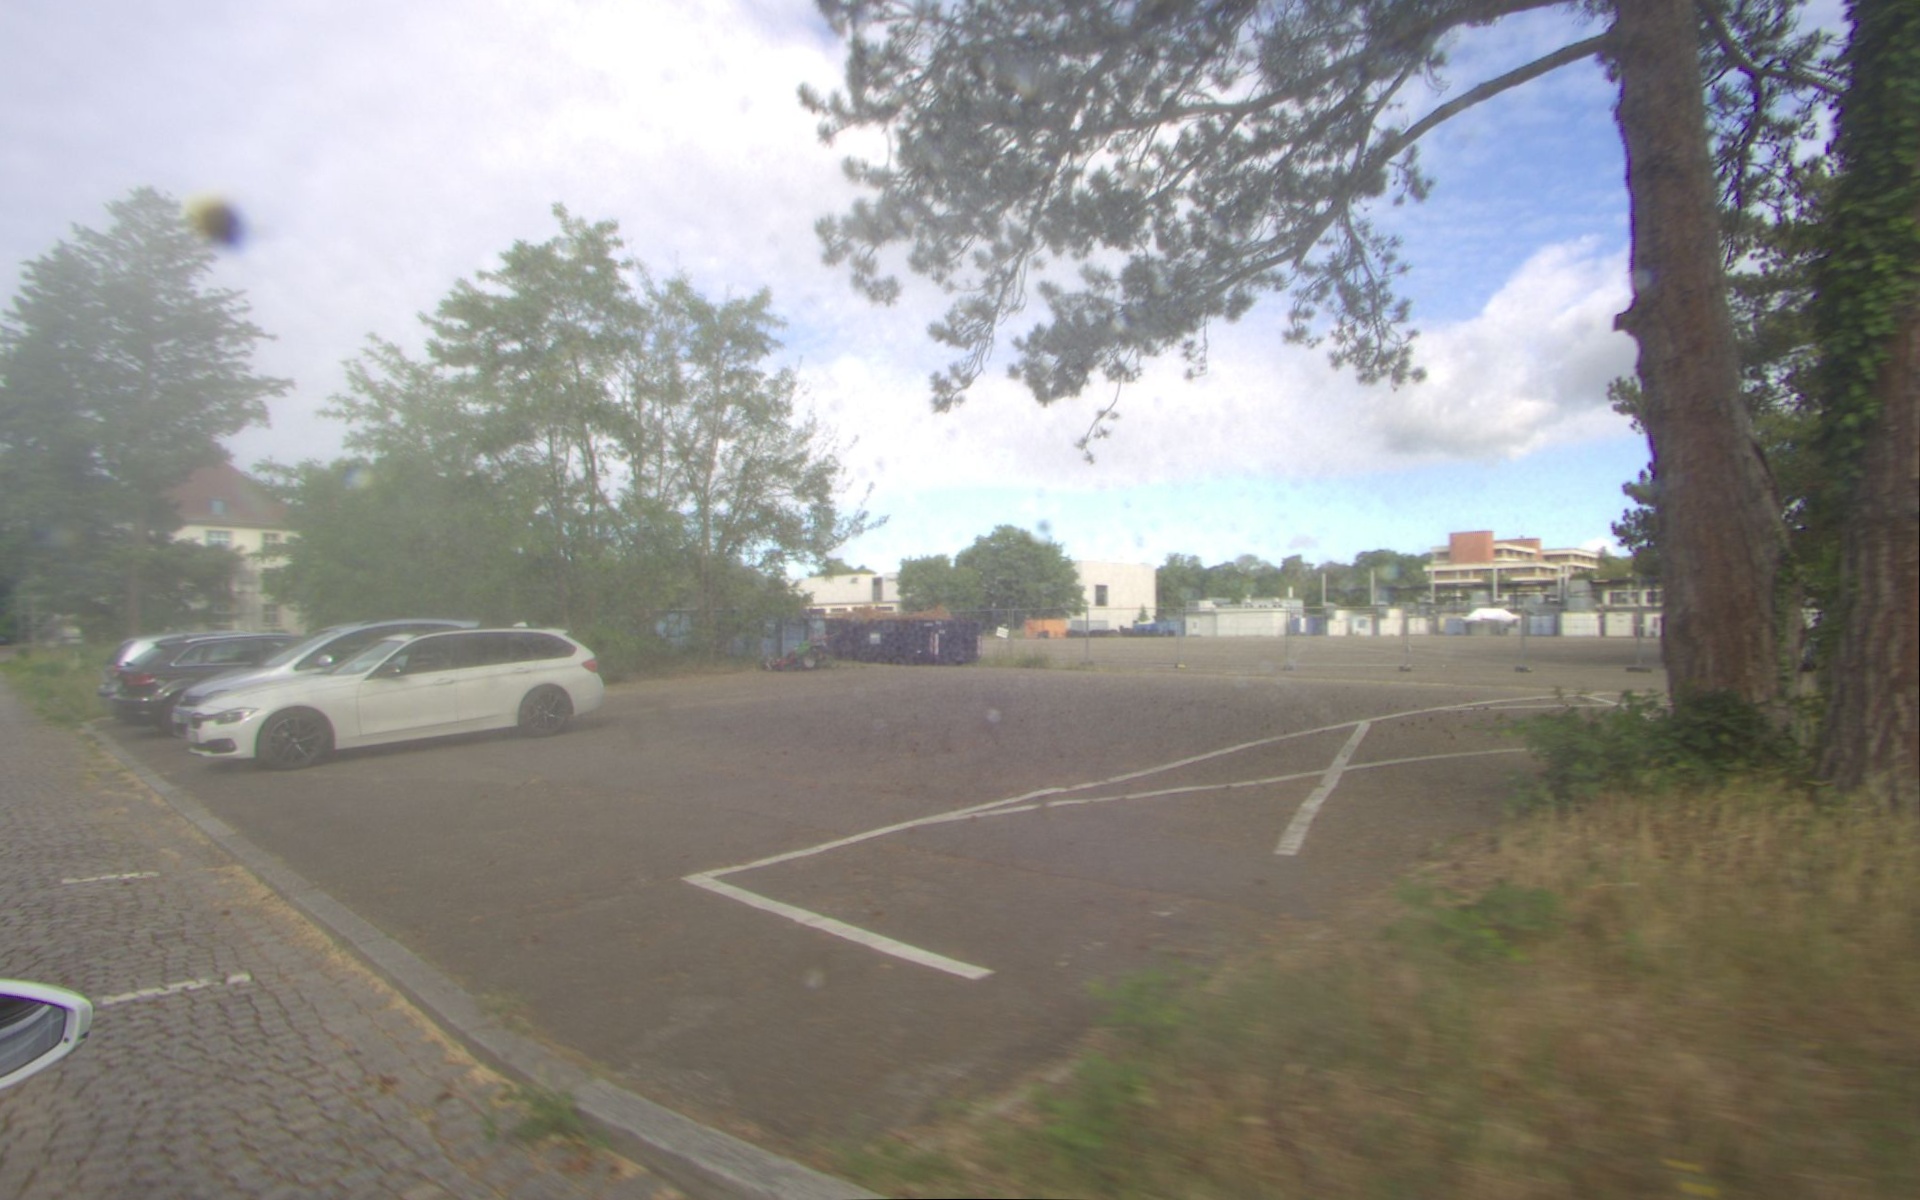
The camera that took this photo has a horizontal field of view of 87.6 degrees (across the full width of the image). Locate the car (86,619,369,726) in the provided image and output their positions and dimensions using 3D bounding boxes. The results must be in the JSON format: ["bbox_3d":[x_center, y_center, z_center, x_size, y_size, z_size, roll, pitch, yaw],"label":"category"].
[{"bbox_3d":[-12.862,1.181,17.754,1.723,1.500,3.750,0,2,42],"label":"car"}]

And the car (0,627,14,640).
[{"bbox_3d":[-132.734,4.650,139.127,4.020,1.742,1.780,-4,-3,44],"label":"car"}]

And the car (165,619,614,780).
[{"bbox_3d":[-6.913,1.075,12.554,1.807,1.444,4.524,-2,1,42],"label":"car"}]

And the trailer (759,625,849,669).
[{"bbox_3d":[-4.338,1.315,28.000,1.132,1.184,2.300,-2,-3,44],"label":"trailer"}]

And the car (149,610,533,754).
[{"bbox_3d":[-8.689,1.037,14.387,1.806,1.595,4.308,-2,1,40],"label":"car"}]

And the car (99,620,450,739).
[{"bbox_3d":[-10.805,1.141,16.030,1.777,1.425,4.339,0,2,43],"label":"car"}]
